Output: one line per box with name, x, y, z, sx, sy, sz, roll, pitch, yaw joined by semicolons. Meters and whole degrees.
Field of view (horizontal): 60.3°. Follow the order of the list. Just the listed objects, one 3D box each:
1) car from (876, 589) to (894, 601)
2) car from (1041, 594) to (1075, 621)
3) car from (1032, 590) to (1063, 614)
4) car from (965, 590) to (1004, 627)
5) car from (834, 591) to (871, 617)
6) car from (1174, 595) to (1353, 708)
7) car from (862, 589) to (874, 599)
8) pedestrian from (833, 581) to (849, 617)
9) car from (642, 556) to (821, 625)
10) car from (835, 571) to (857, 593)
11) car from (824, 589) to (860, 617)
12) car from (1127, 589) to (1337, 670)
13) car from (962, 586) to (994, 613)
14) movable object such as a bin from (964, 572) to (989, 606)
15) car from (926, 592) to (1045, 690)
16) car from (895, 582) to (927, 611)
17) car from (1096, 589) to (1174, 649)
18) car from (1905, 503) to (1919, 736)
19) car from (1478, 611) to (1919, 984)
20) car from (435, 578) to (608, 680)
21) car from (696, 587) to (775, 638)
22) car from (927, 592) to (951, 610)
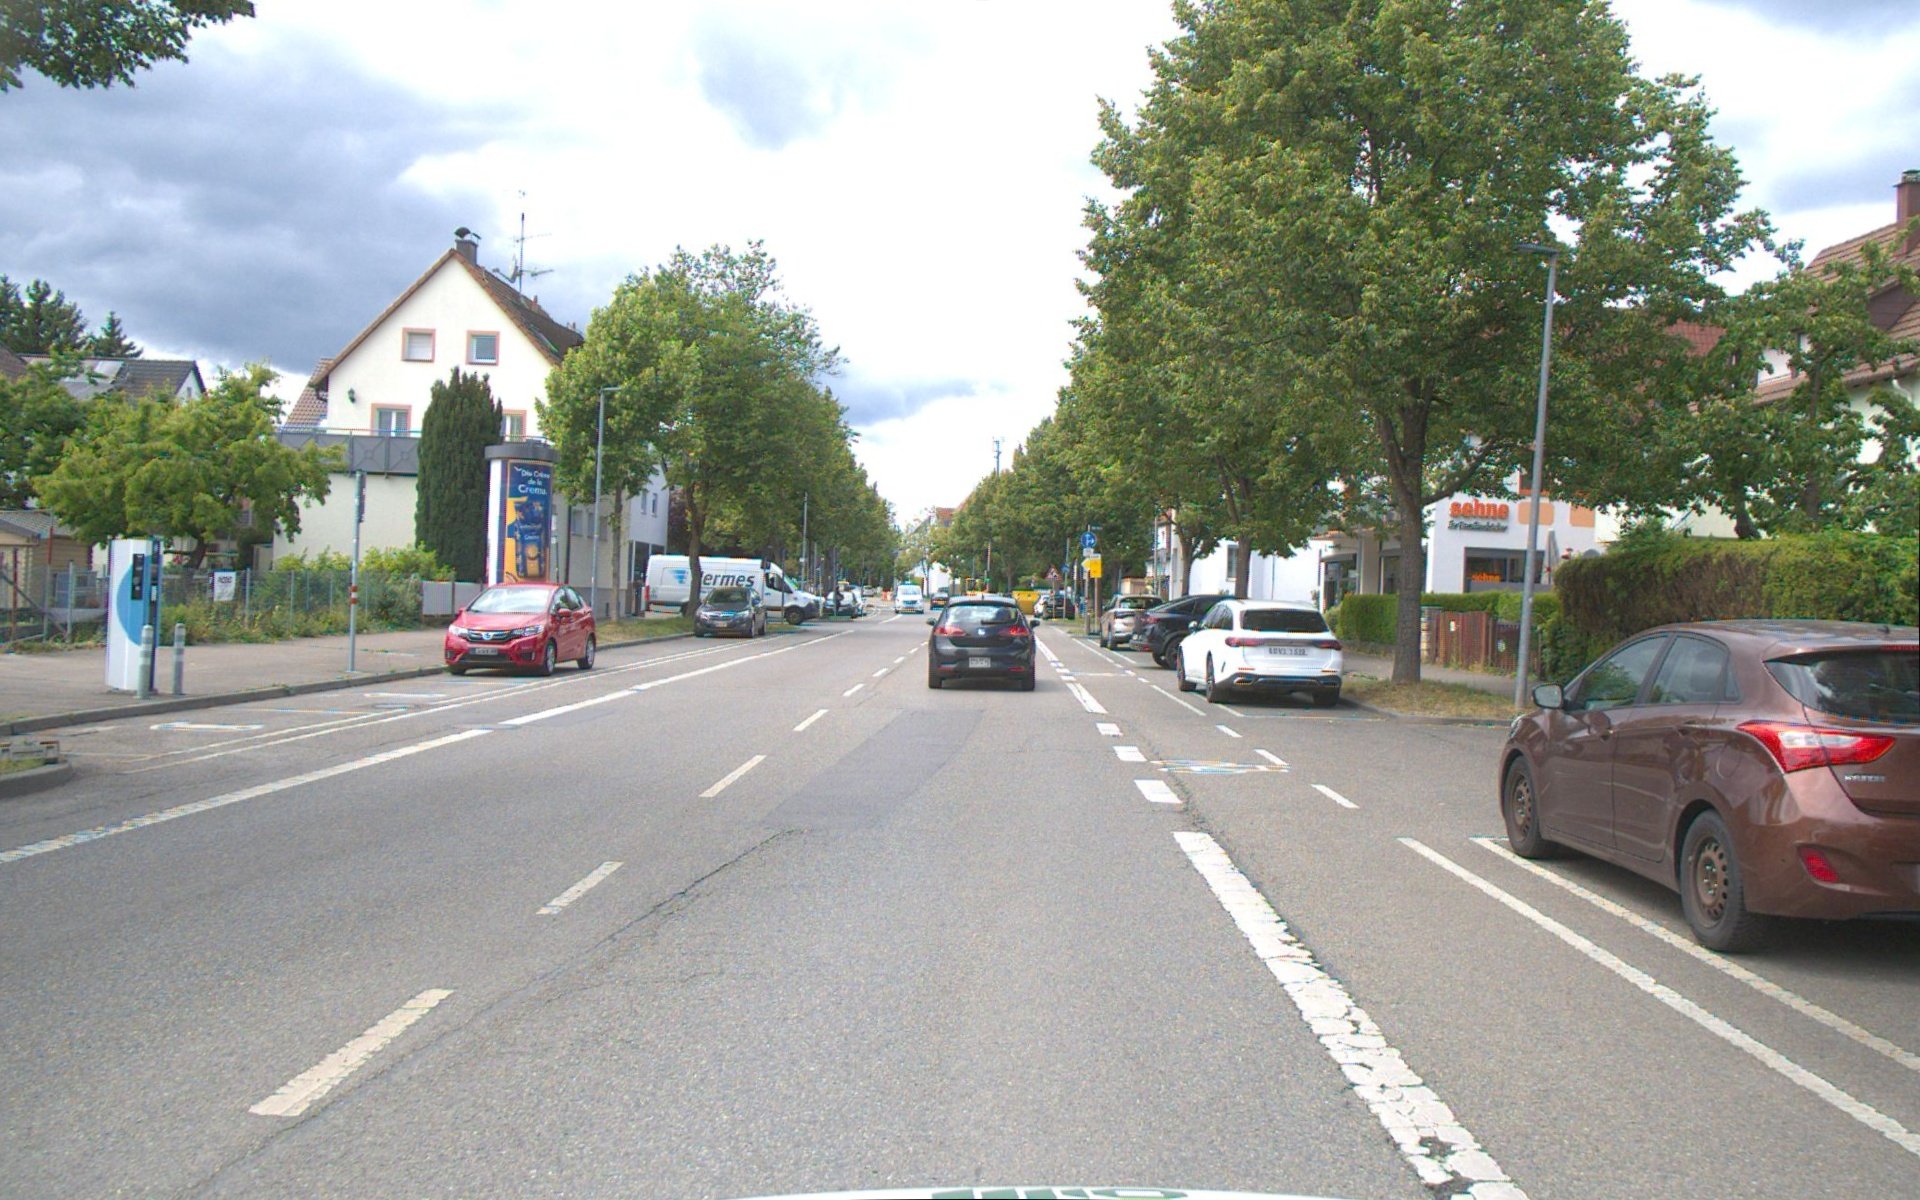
car;-9.496;-0.644;209.860;1.777;1.440;3.684;1;0;-11
car;5.678;0.404;96.298;1.671;1.480;4.616;1;0;0
car;5.576;0.137;106.069;1.638;1.488;3.999;1;0;-2
car;1.224;0.392;81.233;1.866;1.715;3.741;1;0;2
car;-6.174;0.210;95.333;1.678;1.431;4.301;1;0;2
car;4.482;0.697;25.128;1.768;1.500;4.811;2;0;-1
car;-14.001;-0.888;251.308;1.774;1.440;3.689;1;0;-5
pedestrian;-5.769;-0.034;80.429;0.531;1.710;0.751;3;1;9
car;-9.428;-0.397;68.765;7.143;2.639;2.219;1;0;-3
car;-12.268;-1.919;177.591;2.053;2.213;5.036;1;0;-7
car;-6.315;0.173;88.687;1.609;1.445;4.020;1;0;0
car;5.762;0.615;35.314;4.134;1.666;1.692;0;0;-5
car;1.126;-0.021;104.983;1.755;1.651;3.738;1;0;-3
movable object such as a bin;1.267;-0.850;128.493;1.732;2.619;3.739;2;0;-1
car;0.355;0.618;27.221;1.782;1.463;3.739;1;0;-1
car;-3.297;-0.222;112.224;1.926;1.862;4.819;1;0;1
car;4.943;0.510;47.095;1.687;1.608;4.060;1;0;-1
car;13.726;0.309;18.149;5.600;2.637;1.997;2;1;-4
car;4.202;0.811;8.734;1.619;1.440;4.177;0;0;0
car;-7.392;0.442;28.303;1.650;1.568;4.134;2;0;3
car;-6.865;0.349;50.878;1.695;1.494;4.302;1;0;2
car;-1.710;0.102;134.285;1.774;1.399;3.690;1;0;-4
